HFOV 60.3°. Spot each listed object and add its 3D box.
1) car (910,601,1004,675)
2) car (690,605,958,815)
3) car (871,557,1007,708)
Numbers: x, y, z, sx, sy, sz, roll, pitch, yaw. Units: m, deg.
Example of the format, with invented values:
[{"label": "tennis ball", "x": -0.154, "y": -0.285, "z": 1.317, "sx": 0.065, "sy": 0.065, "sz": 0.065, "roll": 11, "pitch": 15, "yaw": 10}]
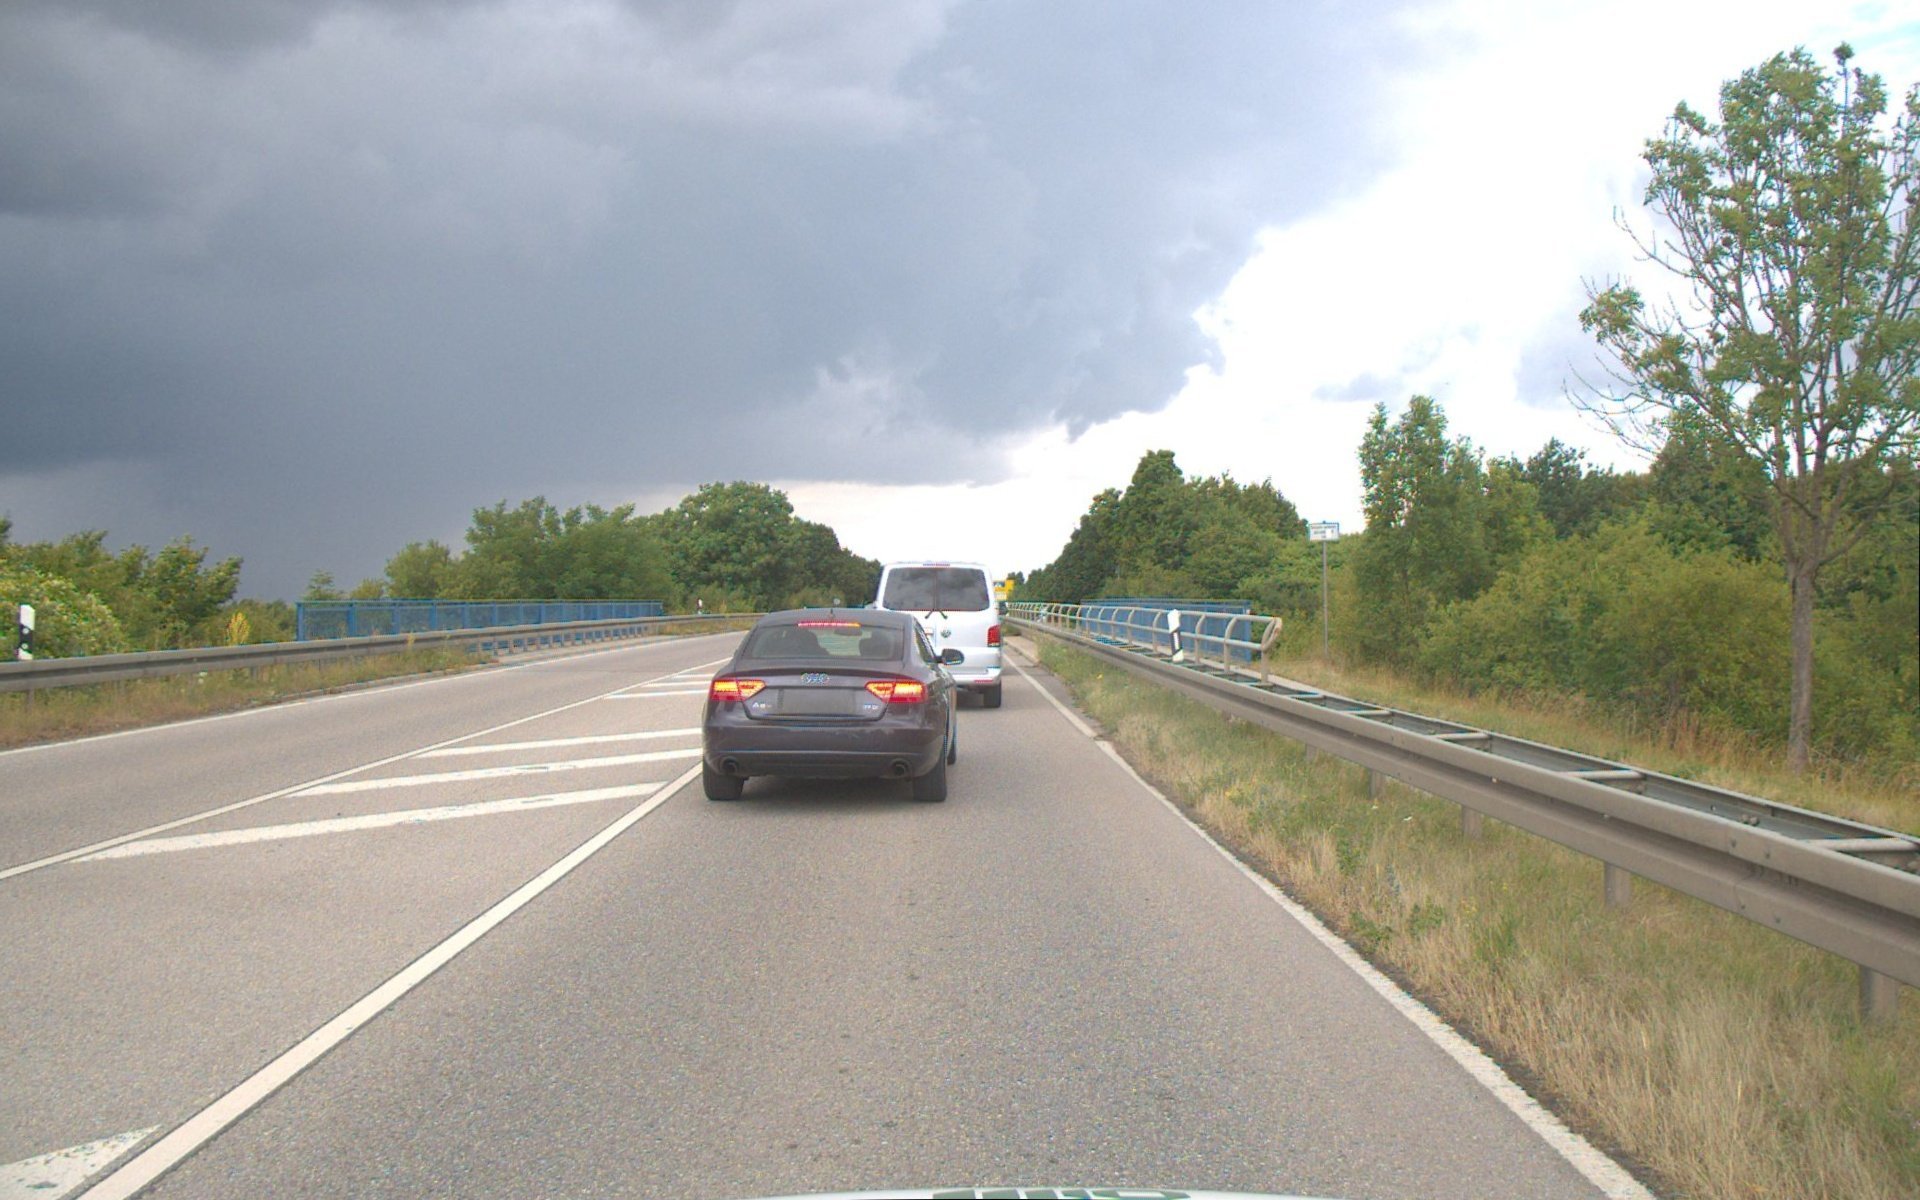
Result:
[{"label": "car", "x": -0.040, "y": 0.719, "z": 33.385, "sx": 1.784, "sy": 1.405, "sz": 4.072, "roll": 0, "pitch": 0, "yaw": 0}, {"label": "car", "x": -0.916, "y": 0.747, "z": 13.177, "sx": 1.784, "sy": 1.405, "sz": 4.071, "roll": 0, "pitch": 0, "yaw": 0}, {"label": "car", "x": -0.299, "y": 0.434, "z": 23.794, "sx": 1.791, "sy": 1.969, "sz": 3.999, "roll": 0, "pitch": 0, "yaw": -1}]
